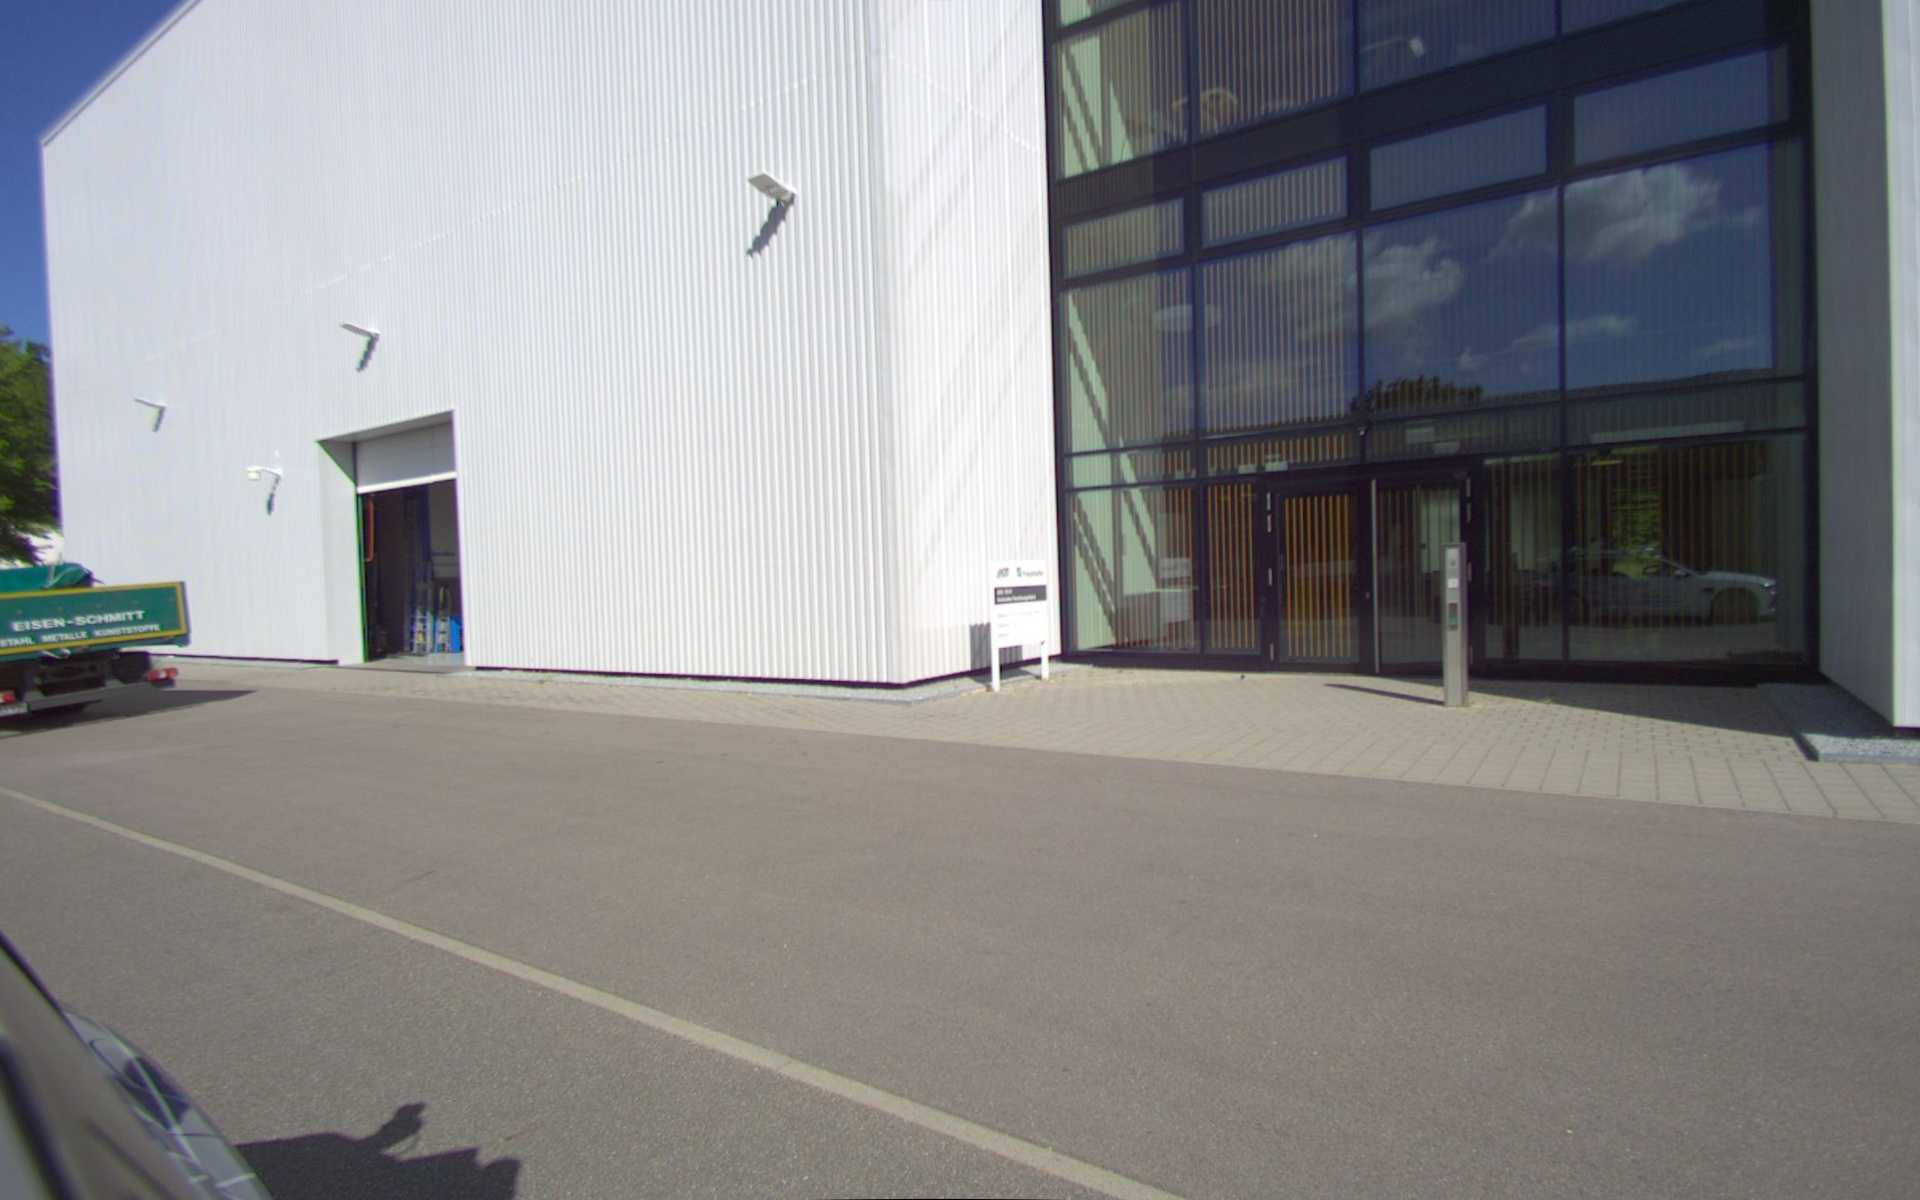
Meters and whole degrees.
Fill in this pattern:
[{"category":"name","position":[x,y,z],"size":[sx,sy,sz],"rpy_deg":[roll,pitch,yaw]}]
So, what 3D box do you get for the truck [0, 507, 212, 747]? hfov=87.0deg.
[{"category":"truck","position":[-15.109,0.396,14.272],"size":[9.629,2.736,2.571],"rpy_deg":[-2,3,22]}]
